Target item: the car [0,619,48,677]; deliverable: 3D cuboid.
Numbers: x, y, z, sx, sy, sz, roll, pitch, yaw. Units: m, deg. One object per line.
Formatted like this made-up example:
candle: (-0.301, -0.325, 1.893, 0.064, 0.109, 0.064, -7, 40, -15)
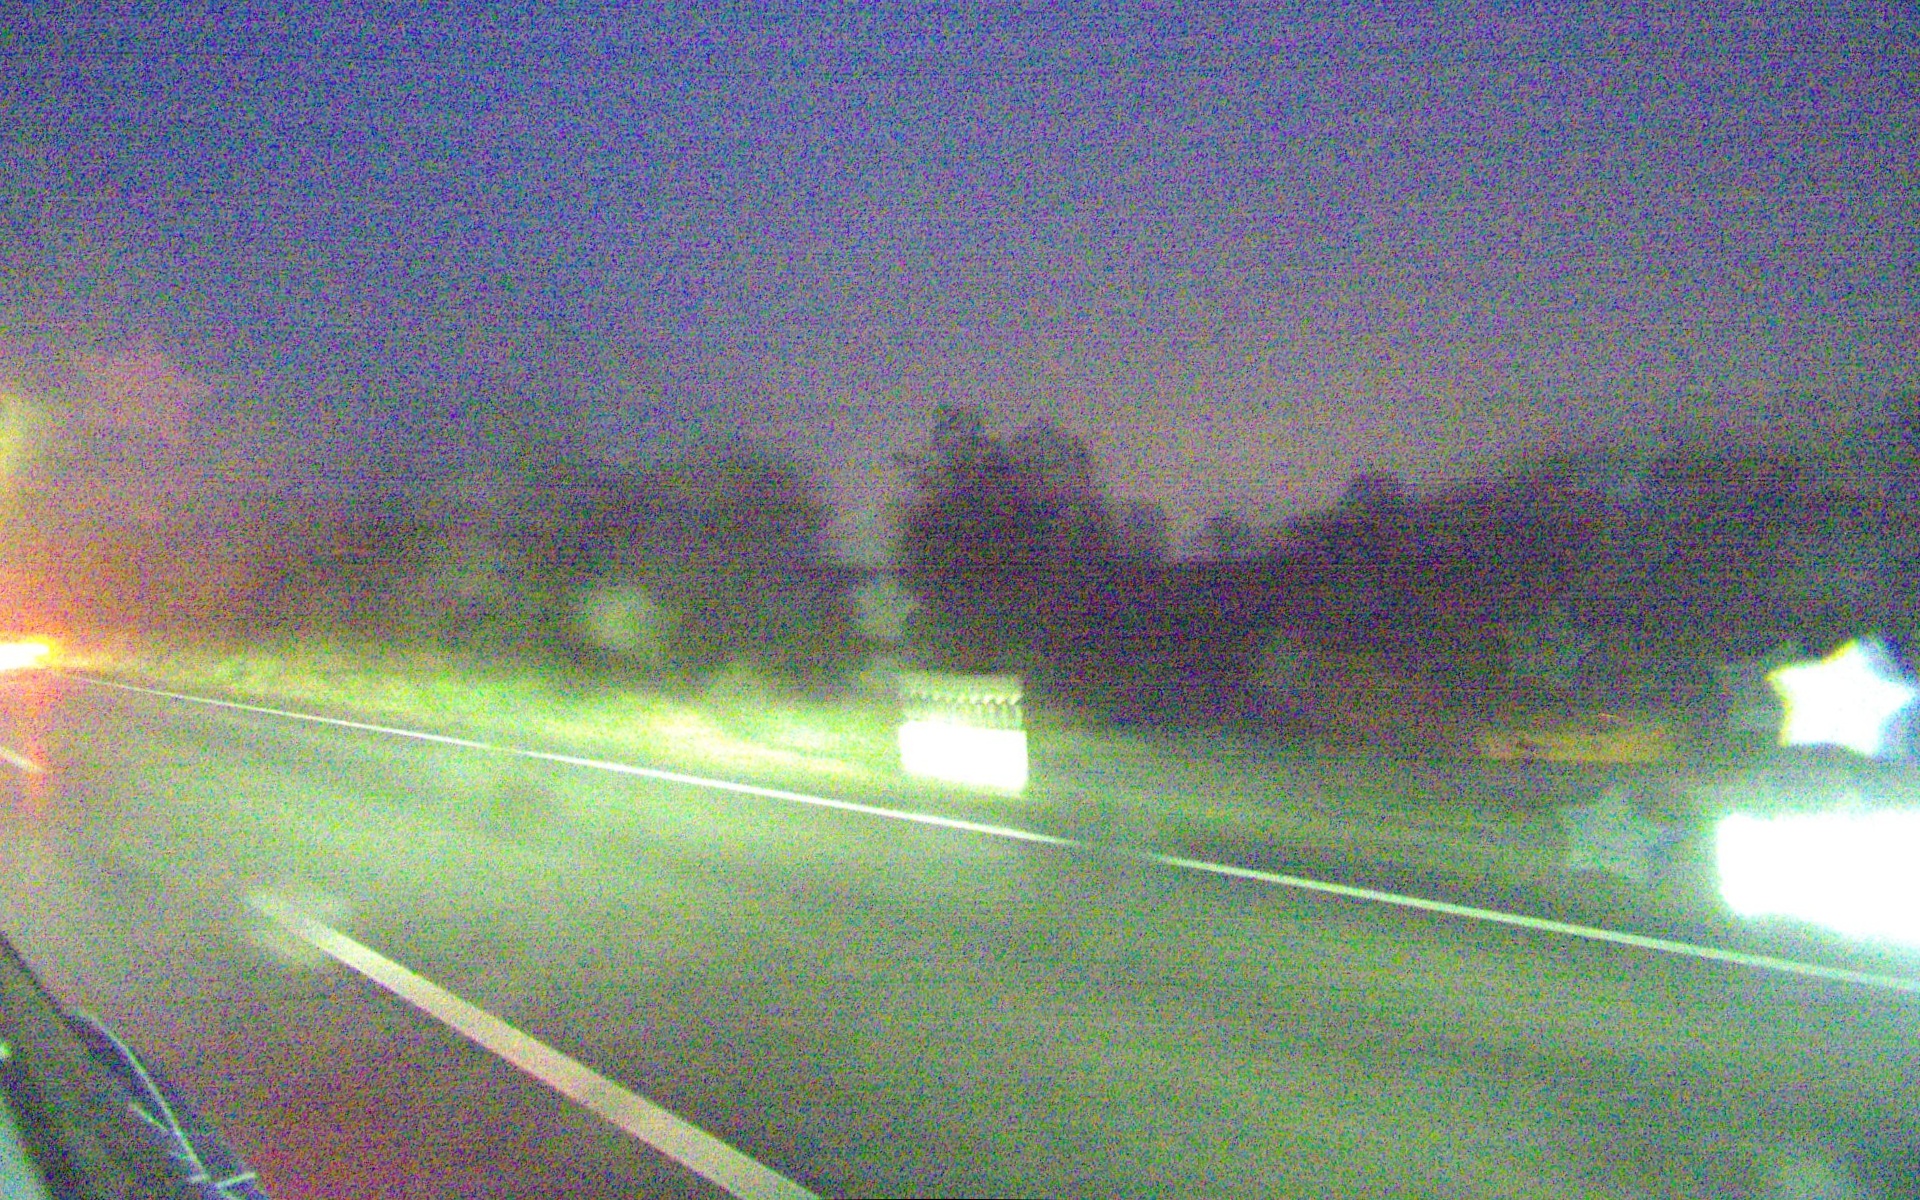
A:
car: (-26.373, 1.266, 27.528, 3.997, 1.452, 1.801, 0, -2, 41)
